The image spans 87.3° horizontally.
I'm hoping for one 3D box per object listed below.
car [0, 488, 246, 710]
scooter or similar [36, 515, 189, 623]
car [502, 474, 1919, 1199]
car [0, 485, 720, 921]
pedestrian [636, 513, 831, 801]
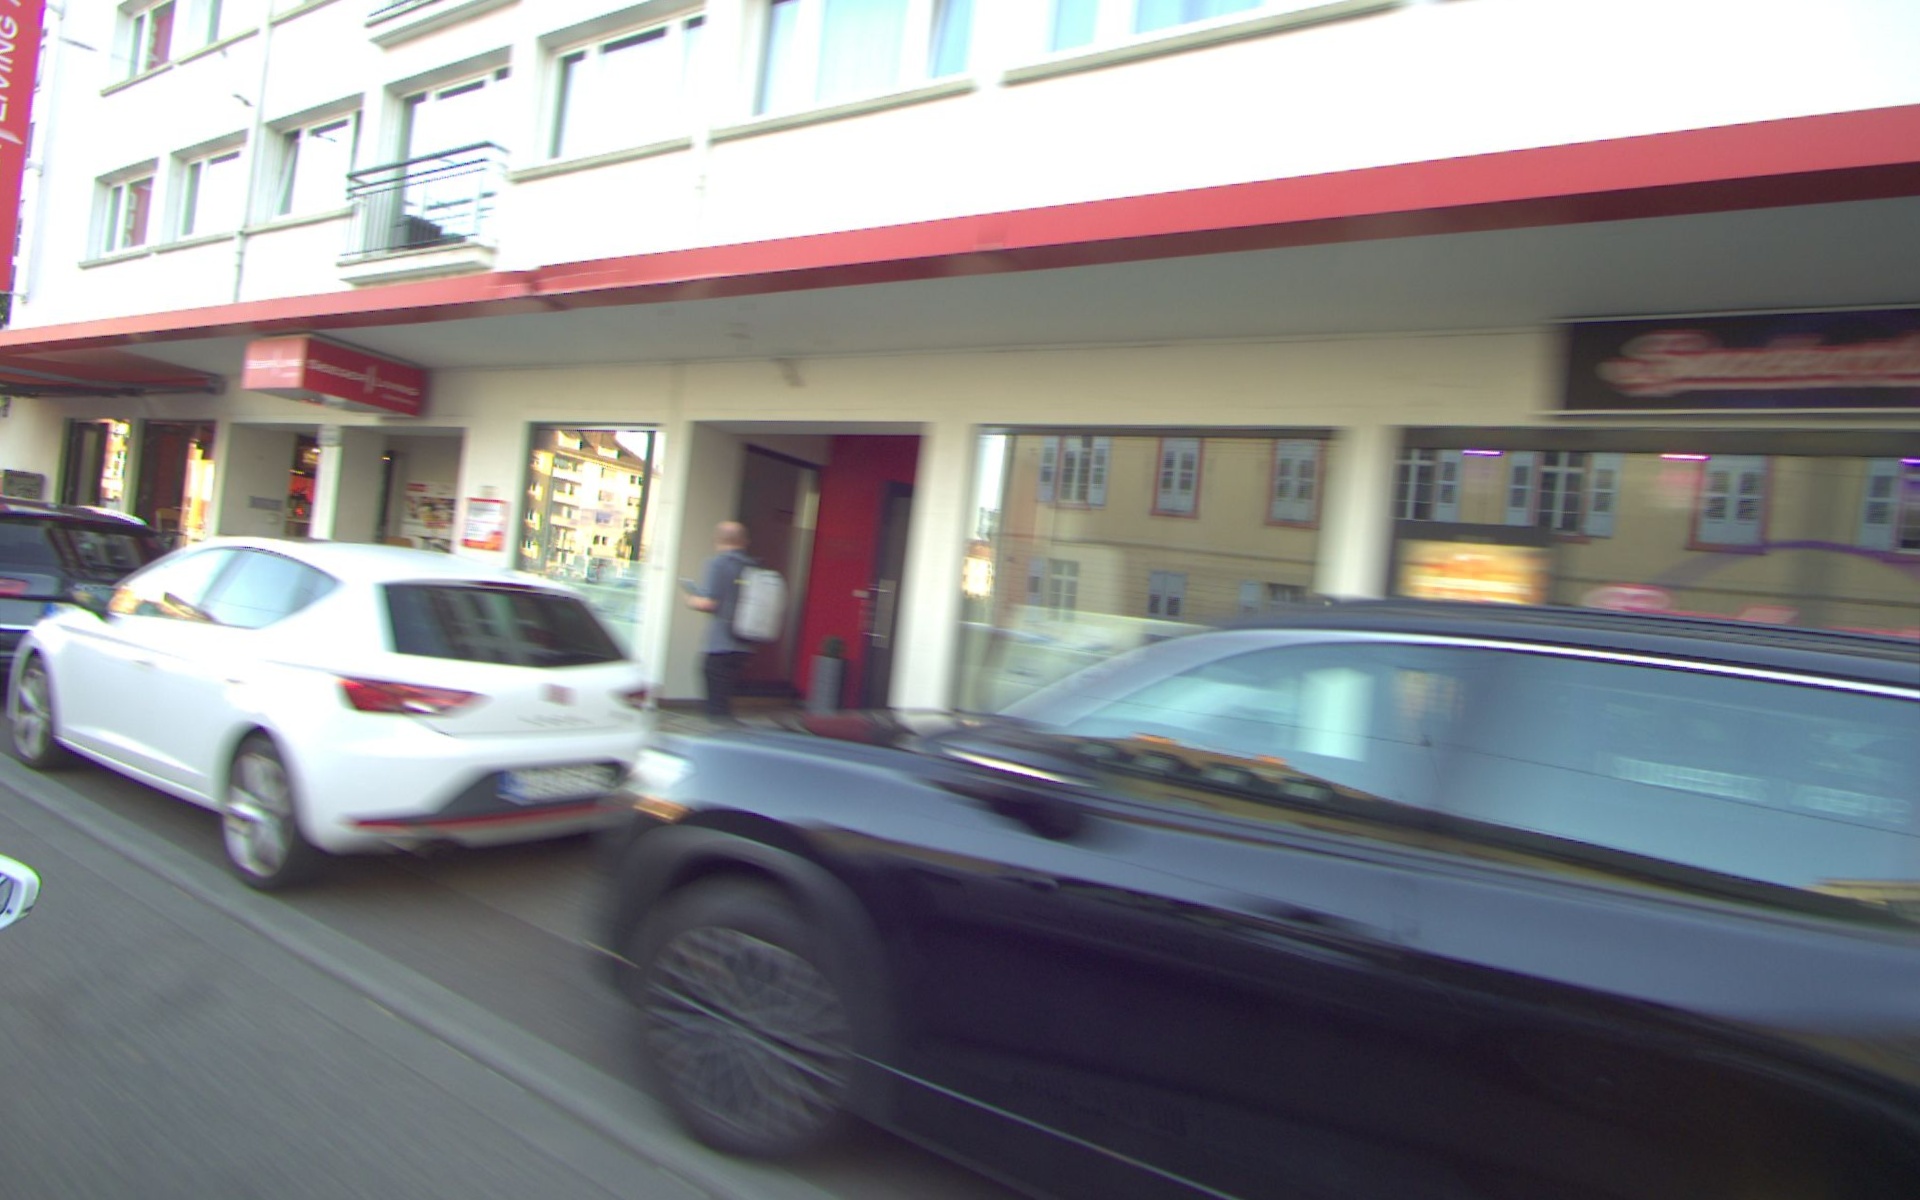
[{"bbox_3d":[-8.029,-0.177,8.199,4.609,1.428,1.794,6,-3,31],"label":"car"},{"bbox_3d":[-11.009,-0.391,13.094,1.416,1.209,0.334,7,1,-15],"label":"scooter or similar"},{"bbox_3d":[1.104,0.797,2.590,4.344,1.720,1.860,6,-3,31],"label":"car"},{"bbox_3d":[-3.456,0.337,5.408,4.121,1.436,1.655,6,-3,32],"label":"car"},{"bbox_3d":[-1.643,0.393,7.345,0.919,1.903,0.775,7,0,30],"label":"pedestrian"}]
